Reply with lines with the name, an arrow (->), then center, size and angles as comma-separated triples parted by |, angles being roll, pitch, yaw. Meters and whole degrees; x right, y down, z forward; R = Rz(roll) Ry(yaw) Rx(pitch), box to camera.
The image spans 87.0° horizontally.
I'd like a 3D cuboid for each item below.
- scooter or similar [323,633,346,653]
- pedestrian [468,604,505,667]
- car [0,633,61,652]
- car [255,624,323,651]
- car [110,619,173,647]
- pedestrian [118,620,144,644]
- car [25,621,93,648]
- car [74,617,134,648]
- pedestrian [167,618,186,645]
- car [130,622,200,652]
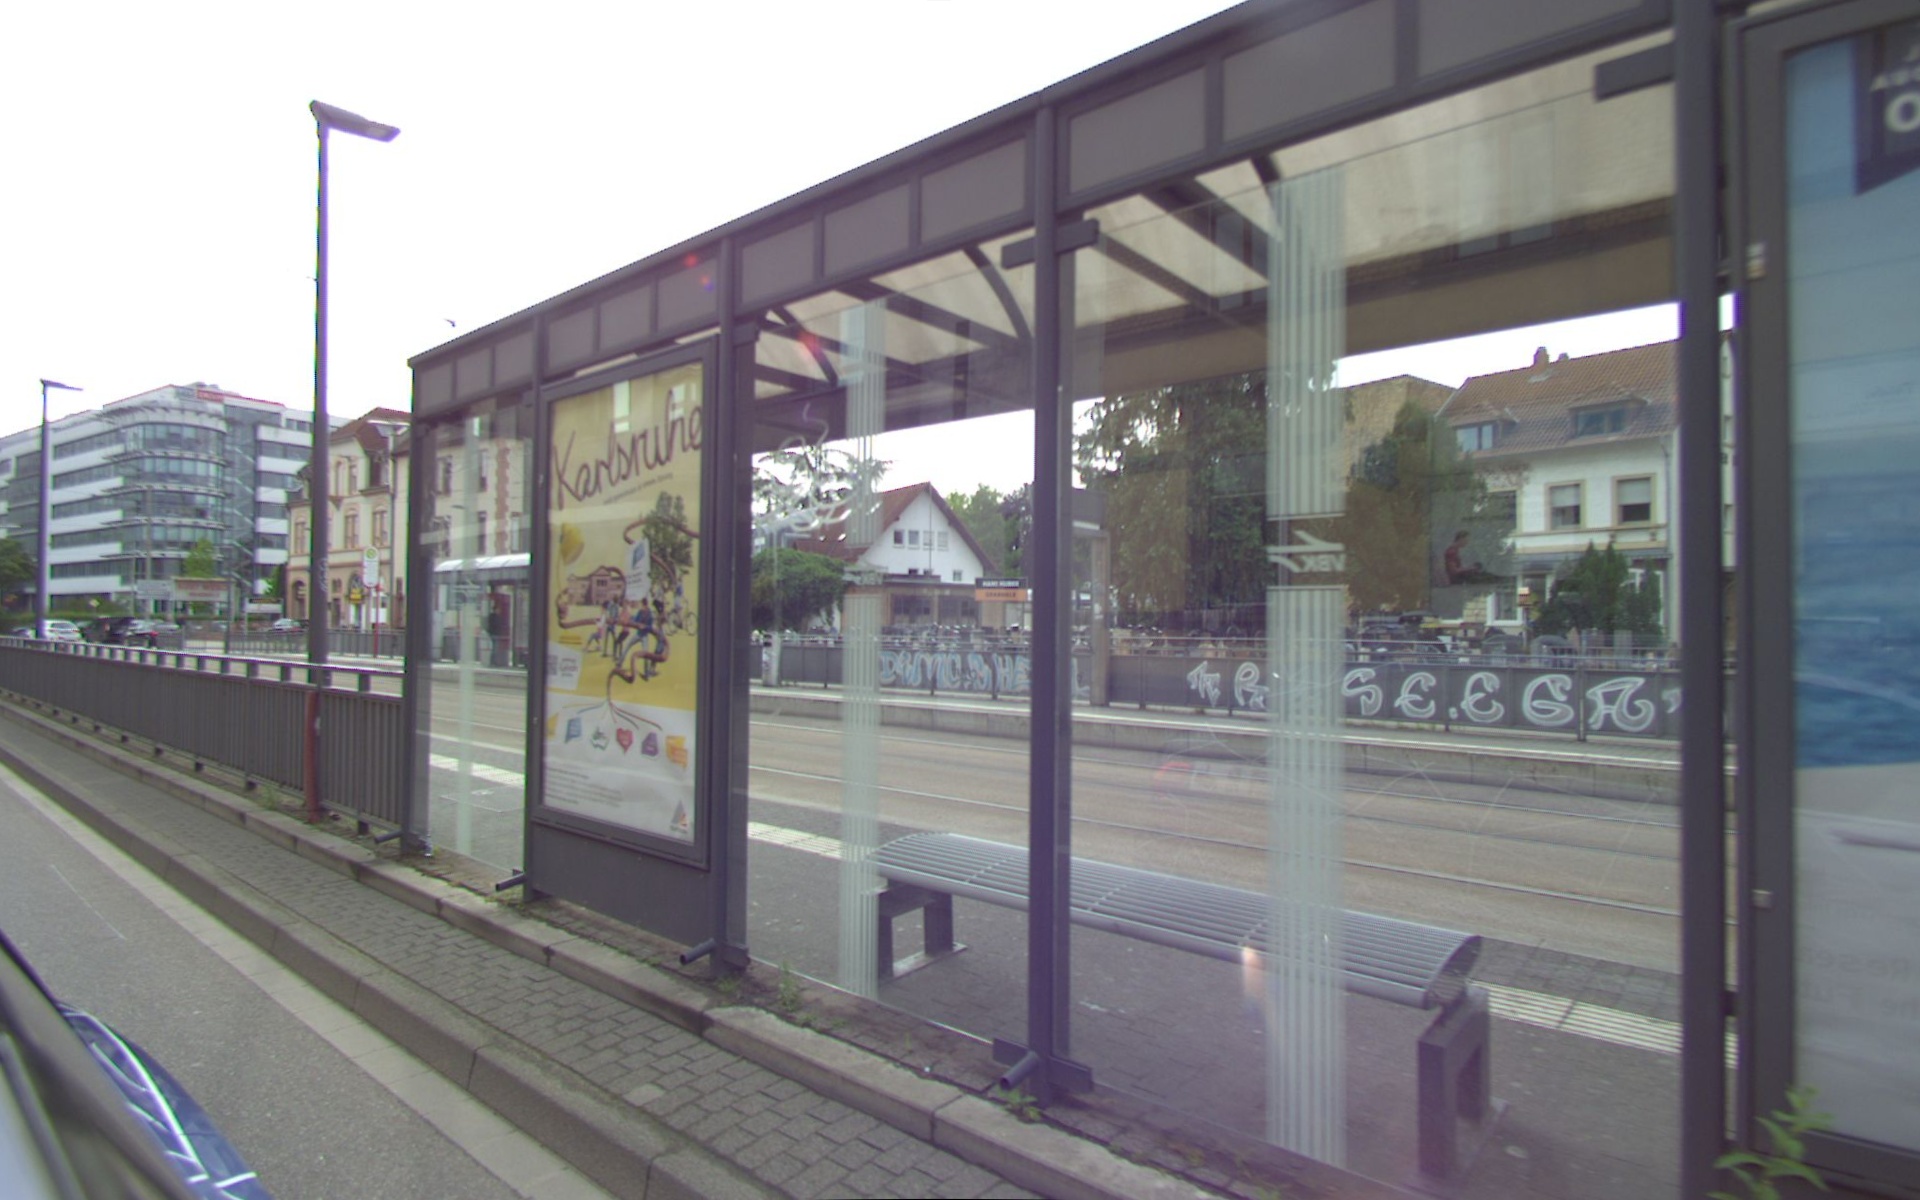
scooter or similar -> -36.122, 2.460, 58.436 | 0.521, 1.110, 1.175 | 0, -1, 7
pedestrian -> -12.654, 0.945, 27.077 | 0.610, 1.677, 0.696 | 0, -1, 8
car -> -73.620, 3.350, 79.650 | 3.918, 1.462, 1.822 | 2, -2, -24
car -> -42.644, 2.330, 64.282 | 4.893, 1.504, 1.976 | -1, 2, 36
car -> -54.486, 2.225, 67.319 | 4.522, 1.762, 2.020 | -2, -1, 34
pedestrian -> -68.655, 2.648, 83.834 | 1.180, 2.029, 1.208 | 0, -2, 21
car -> -53.838, 2.043, 60.433 | 3.985, 1.497, 1.850 | 0, -4, 31
car -> -59.389, 2.189, 70.208 | 5.173, 2.029, 1.969 | 0, 0, 35
pedestrian -> -55.653, 2.230, 71.907 | 1.058, 1.839, 0.796 | -1, -1, 37
car -> -41.644, 1.939, 53.003 | 3.991, 1.462, 1.748 | 0, -3, 35
